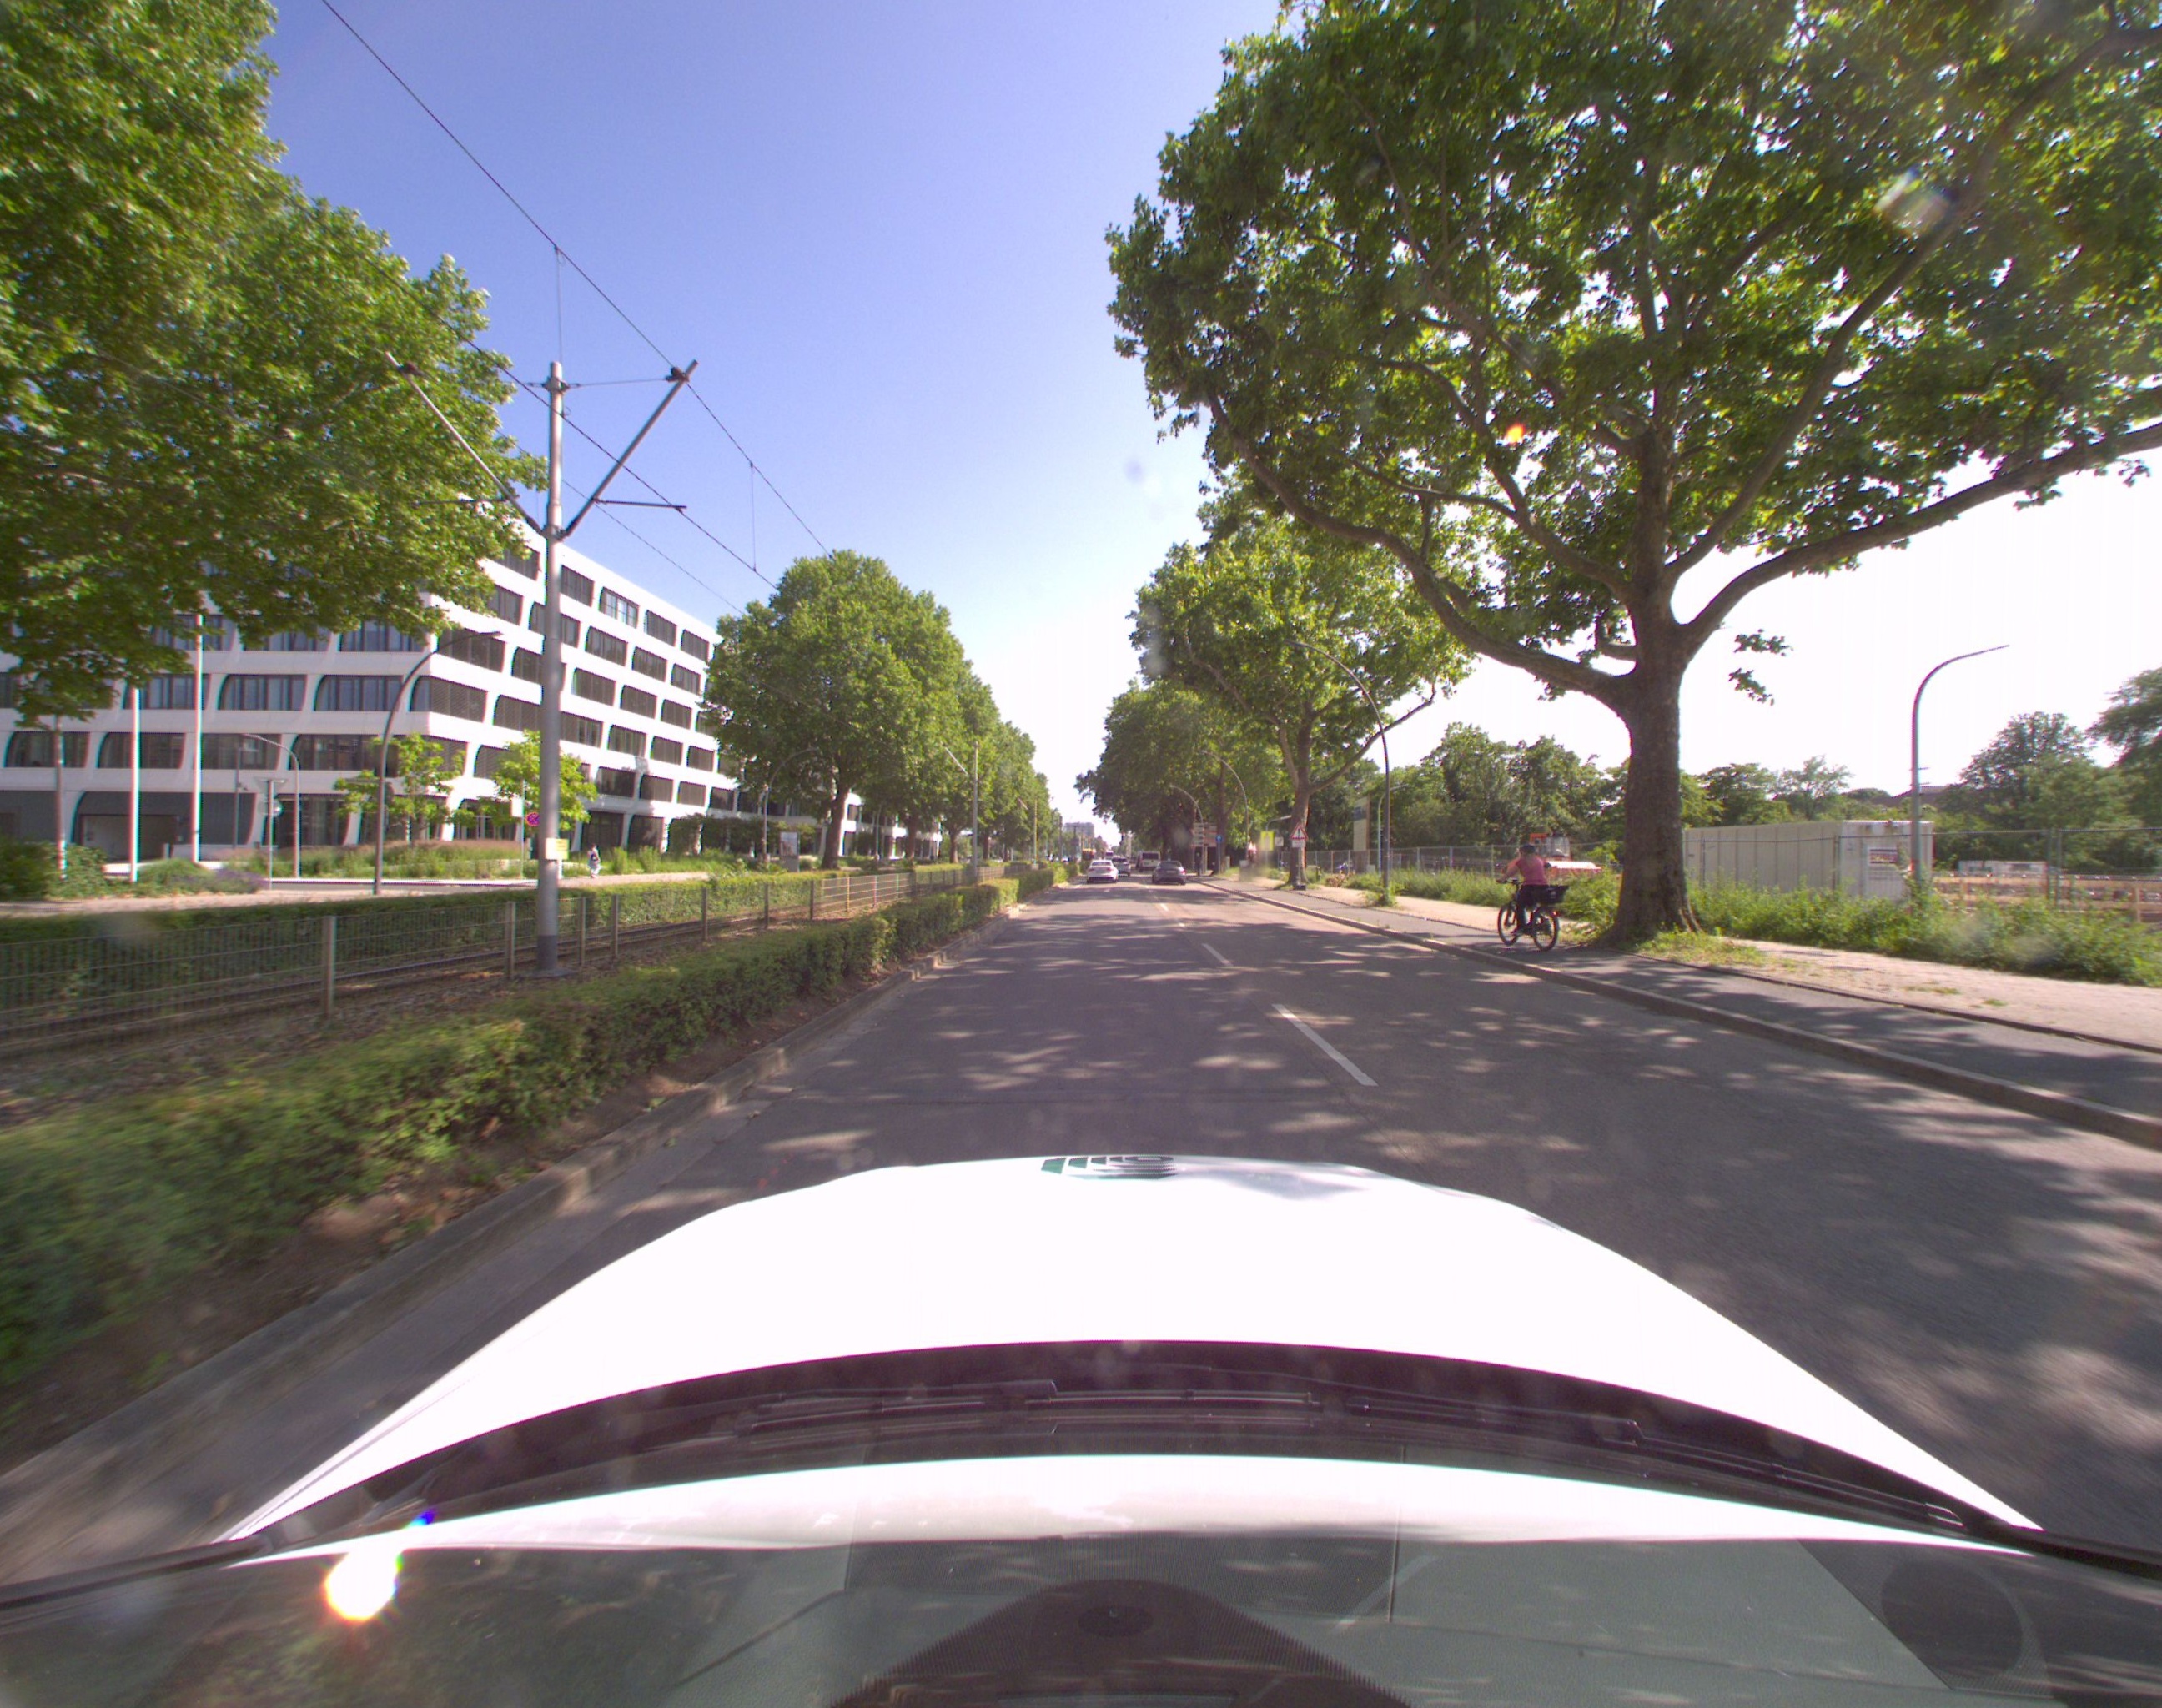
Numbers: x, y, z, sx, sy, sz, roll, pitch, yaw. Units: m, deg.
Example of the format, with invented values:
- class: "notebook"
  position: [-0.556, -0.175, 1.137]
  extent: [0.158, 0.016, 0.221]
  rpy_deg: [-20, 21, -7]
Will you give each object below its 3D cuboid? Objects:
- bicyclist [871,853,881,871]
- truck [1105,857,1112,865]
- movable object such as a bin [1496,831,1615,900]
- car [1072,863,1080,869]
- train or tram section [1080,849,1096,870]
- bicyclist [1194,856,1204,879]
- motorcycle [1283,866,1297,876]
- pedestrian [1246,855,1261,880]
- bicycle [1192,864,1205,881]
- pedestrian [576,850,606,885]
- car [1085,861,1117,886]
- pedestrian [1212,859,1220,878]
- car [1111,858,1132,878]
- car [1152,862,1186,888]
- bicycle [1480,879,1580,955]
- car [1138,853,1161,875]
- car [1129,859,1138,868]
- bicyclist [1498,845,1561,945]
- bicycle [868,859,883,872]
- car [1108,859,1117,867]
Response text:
- class: "bicyclist"
  position: [-18.229, 0.712, 72.281]
  extent: [0.652, 1.535, 0.641]
  rpy_deg: [1, -1, 3]
- class: "truck"
  position: [8.822, 2.300, 264.201]
  extent: [1.985, 2.790, 8.526]
  rpy_deg: [1, -1, 4]
- class: "movable object such as a bin"
  position: [23.132, 0.545, 40.095]
  extent: [2.362, 3.072, 5.984]
  rpy_deg: [1, 0, 0]
- class: "car"
  position: [-1.579, 3.535, 239.959]
  extent: [1.985, 1.734, 4.004]
  rpy_deg: [1, -1, 3]
- class: "train or tram section"
  position: [1.455, 1.171, 163.032]
  extent: [2.605, 4.015, 7.756]
  rpy_deg: [1, -1, 4]
- class: "bicyclist"
  position: [8.889, 1.014, 61.523]
  extent: [0.632, 1.648, 0.980]
  rpy_deg: [-2, 1, 2]
- class: "motorcycle"
  position: [20.570, 1.689, 80.127]
  extent: [1.217, 0.967, 0.470]
  rpy_deg: [1, -1, -4]
- class: "pedestrian"
  position: [12.877, 0.999, 60.759]
  extent: [0.935, 1.892, 1.152]
  rpy_deg: [1, -1, 3]
- class: "bicycle"
  position: [8.897, 1.406, 61.499]
  extent: [0.711, 1.148, 2.180]
  rpy_deg: [-2, 1, 2]
- class: "pedestrian"
  position: [-23.110, 0.628, 38.444]
  extent: [0.717, 1.588, 1.015]
  rpy_deg: [1, -1, 3]
- class: "car"
  position: [1.254, 1.132, 49.394]
  extent: [1.777, 1.421, 3.888]
  rpy_deg: [1, -1, 3]
- class: "pedestrian"
  position: [12.853, 1.361, 77.354]
  extent: [0.629, 1.785, 0.875]
  rpy_deg: [1, -1, 2]
- class: "car"
  position: [3.444, 1.179, 68.659]
  extent: [1.722, 1.605, 3.888]
  rpy_deg: [1, -1, 3]
- class: "car"
  position: [5.216, 1.232, 48.688]
  extent: [1.775, 1.420, 4.003]
  rpy_deg: [1, -1, 3]
- class: "bicycle"
  position: [7.417, 1.007, 13.559]
  extent: [0.649, 1.129, 1.946]
  rpy_deg: [-1, -1, 2]
- class: "car"
  position: [7.243, 1.067, 86.538]
  extent: [2.220, 2.212, 4.165]
  rpy_deg: [1, -1, 3]
- class: "car"
  position: [12.277, 2.275, 190.479]
  extent: [2.063, 1.999, 4.061]
  rpy_deg: [1, -1, 3]
- class: "bicyclist"
  position: [7.399, 0.657, 13.460]
  extent: [0.617, 1.600, 0.732]
  rpy_deg: [-1, -1, 1]
- class: "bicycle"
  position: [-18.246, 1.016, 72.259]
  extent: [0.661, 1.124, 2.032]
  rpy_deg: [1, -1, 3]
- class: "car"
  position: [6.435, 1.841, 167.301]
  extent: [1.722, 1.631, 4.003]
  rpy_deg: [1, -1, 3]
